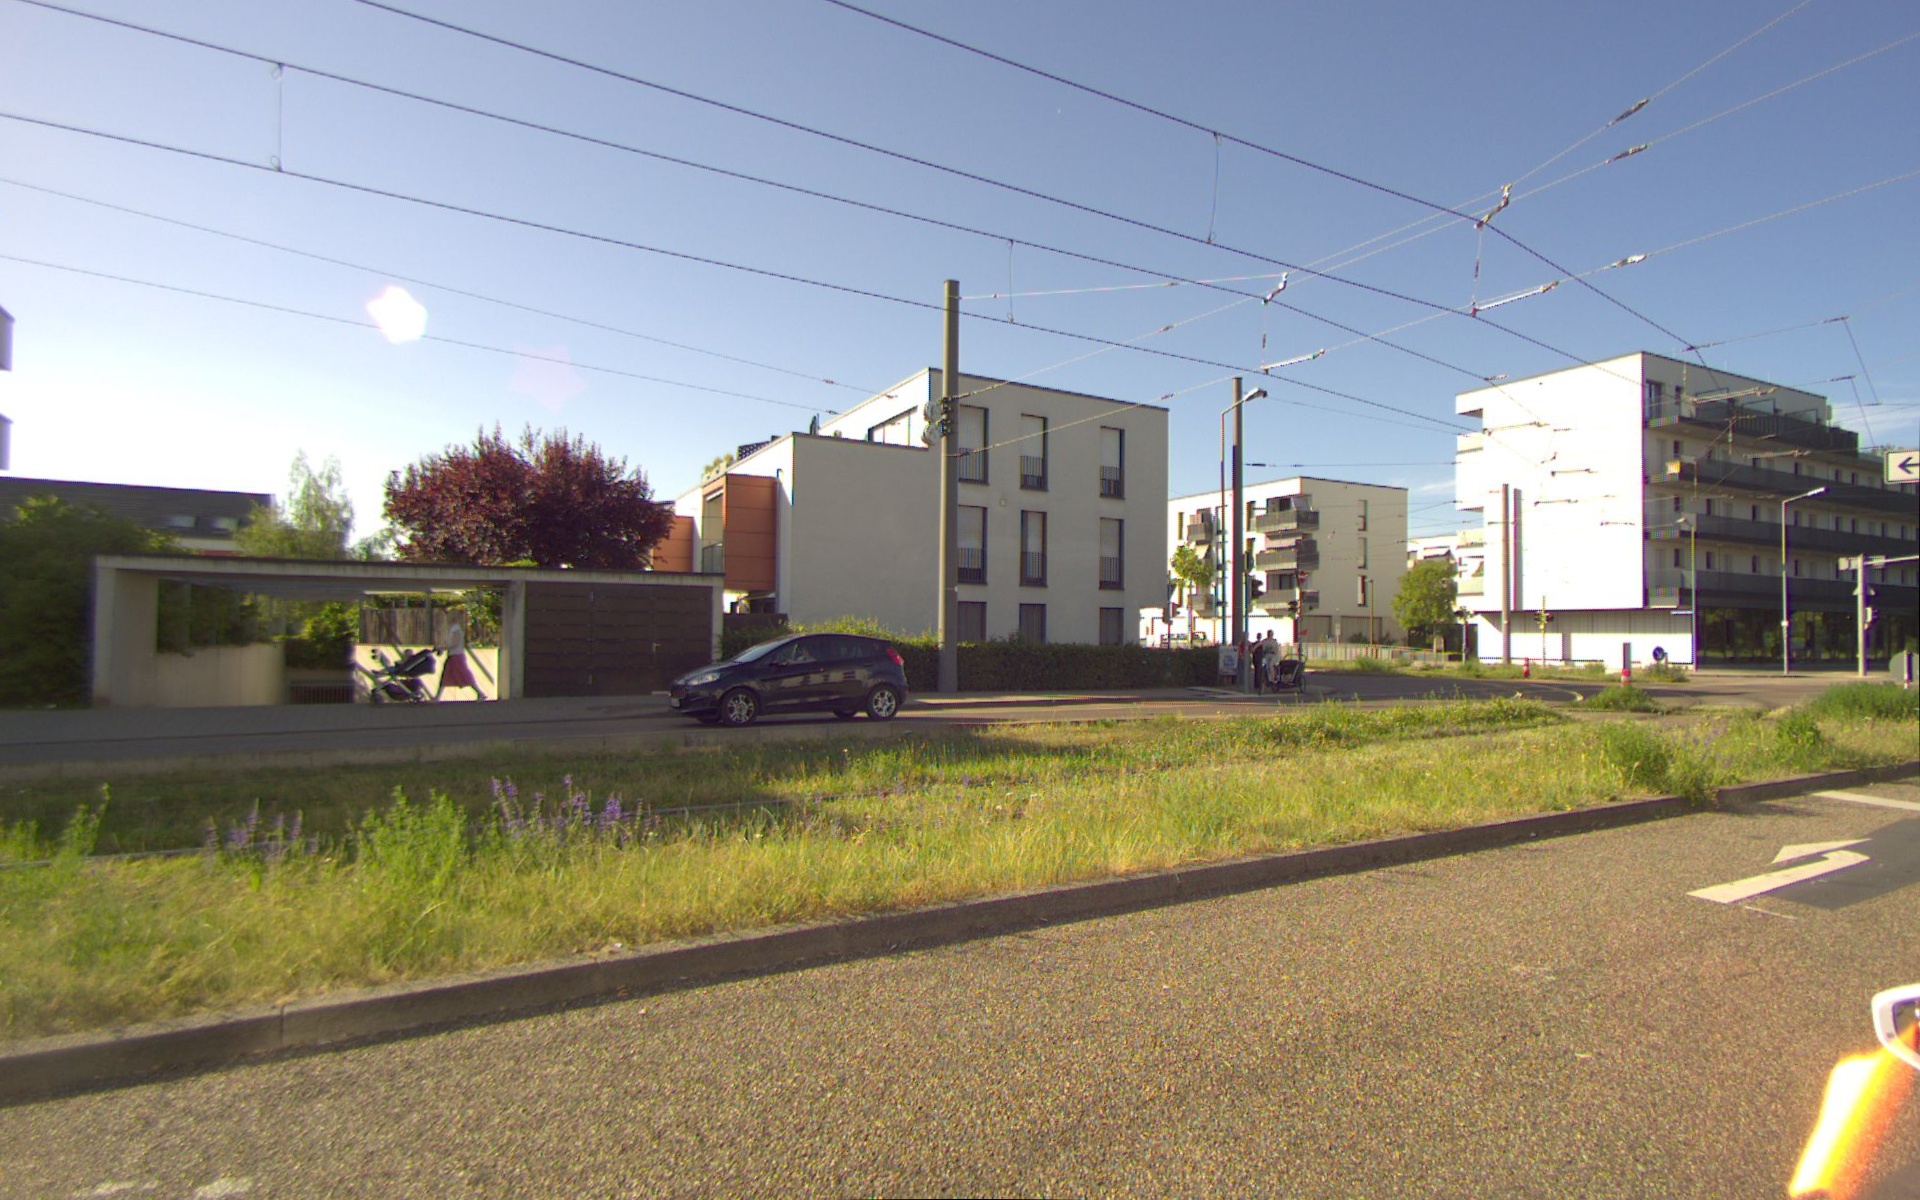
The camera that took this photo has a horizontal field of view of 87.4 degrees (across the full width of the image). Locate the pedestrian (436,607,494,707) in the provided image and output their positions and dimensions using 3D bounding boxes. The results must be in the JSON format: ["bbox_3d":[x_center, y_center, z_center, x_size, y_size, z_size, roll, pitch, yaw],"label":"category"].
[{"bbox_3d":[-9.107,1.030,18.510,0.897,1.771,0.813,1,0,-25],"label":"pedestrian"}]

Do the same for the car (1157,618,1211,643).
[{"bbox_3d":[17.847,2.452,80.124,1.977,1.862,3.967,1,0,-31],"label":"car"}]

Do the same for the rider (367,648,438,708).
[{"bbox_3d":[-10.017,1.394,18.086,1.031,1.016,0.775,1,0,-25],"label":"rider"}]

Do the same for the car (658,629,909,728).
[{"bbox_3d":[-2.848,1.226,16.450,3.701,1.449,1.693,1,-4,-34],"label":"car"}]

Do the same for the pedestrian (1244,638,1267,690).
[{"bbox_3d":[8.788,1.898,29.862,0.548,1.483,0.611,1,0,23],"label":"pedestrian"}]

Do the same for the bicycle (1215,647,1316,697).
[{"bbox_3d":[8.619,1.990,28.165,3.669,1.190,0.986,1,1,-43],"label":"bicycle"}]

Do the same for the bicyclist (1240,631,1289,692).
[{"bbox_3d":[8.494,1.701,28.042,0.906,1.651,0.963,1,0,-44],"label":"bicyclist"}]

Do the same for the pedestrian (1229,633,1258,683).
[{"bbox_3d":[8.590,1.737,30.422,0.550,1.483,0.739,1,0,41],"label":"pedestrian"}]
